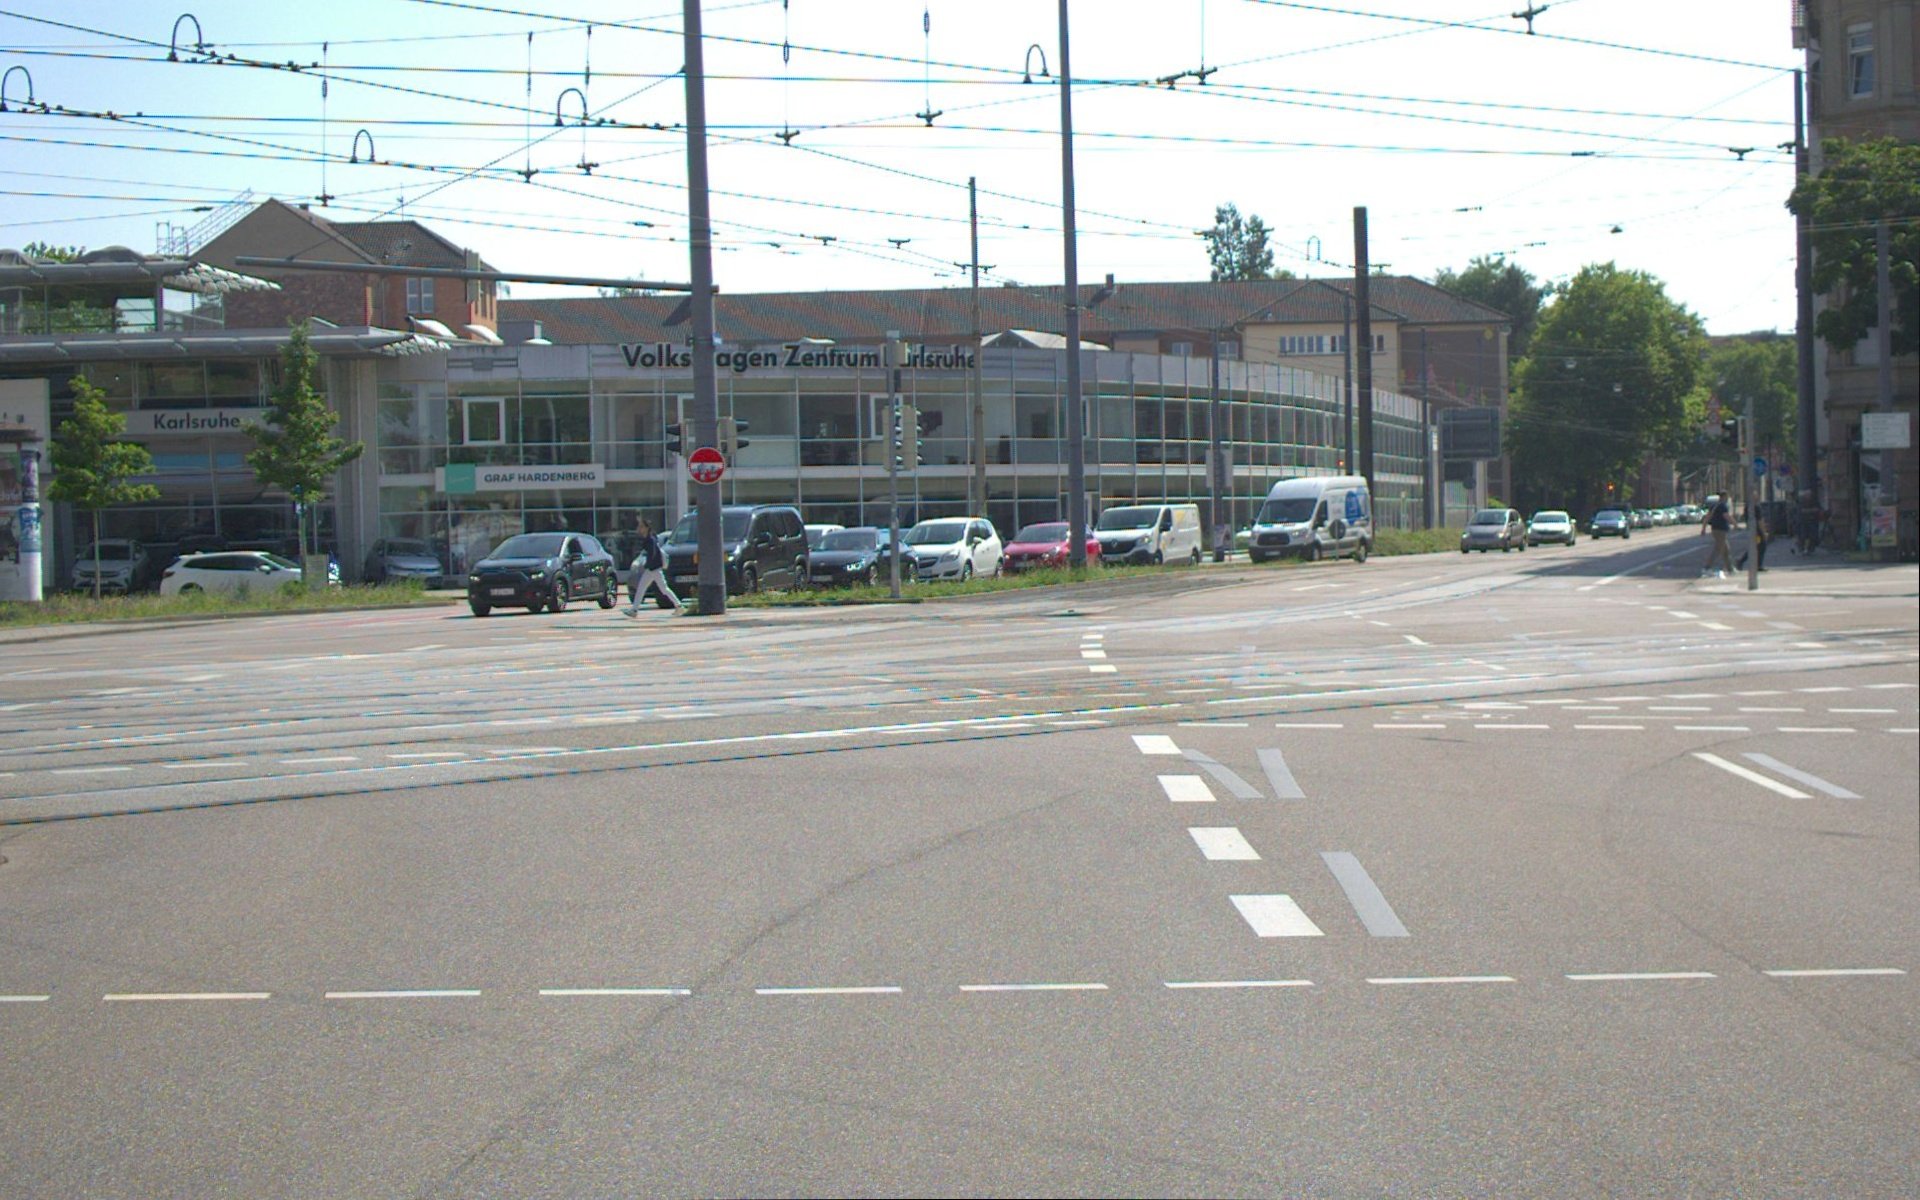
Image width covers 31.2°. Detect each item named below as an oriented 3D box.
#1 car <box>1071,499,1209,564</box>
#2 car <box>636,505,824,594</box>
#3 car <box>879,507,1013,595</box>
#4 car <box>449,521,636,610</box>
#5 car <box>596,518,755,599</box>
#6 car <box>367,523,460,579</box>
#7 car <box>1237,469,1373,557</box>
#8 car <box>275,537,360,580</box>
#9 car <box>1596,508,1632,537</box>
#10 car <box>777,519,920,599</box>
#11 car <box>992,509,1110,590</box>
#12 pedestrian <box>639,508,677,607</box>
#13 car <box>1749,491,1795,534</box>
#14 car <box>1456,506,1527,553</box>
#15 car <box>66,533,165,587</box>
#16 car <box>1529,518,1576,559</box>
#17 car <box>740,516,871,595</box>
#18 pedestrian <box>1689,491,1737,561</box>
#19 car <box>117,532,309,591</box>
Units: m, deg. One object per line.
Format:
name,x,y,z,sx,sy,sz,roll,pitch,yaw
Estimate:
car,4.937,-1.892,93.686,2.188,1.675,5.024,-1,1,22
car,-4.268,-0.981,64.667,1.962,1.582,4.713,-1,1,17
car,-0.285,-1.102,78.508,1.896,1.910,4.197,-1,0,17
car,-7.732,-0.629,64.062,1.893,1.582,4.207,-1,0,17
car,-5.832,-0.841,70.870,1.896,1.582,3.997,-1,0,17
car,-16.207,-1.448,101.753,1.819,1.612,4.001,1,1,-23
car,10.555,-2.621,104.649,2.211,2.566,5.867,1,1,26
car,-18.678,-1.206,100.056,1.830,1.191,4.000,1,1,-2
car,33.552,-3.964,176.237,1.385,1.409,3.010,1,1,19
car,-2.272,-0.835,71.184,1.895,1.582,3.997,-1,0,14
car,2.290,-1.229,85.405,1.896,1.910,4.197,-1,0,17
pedestrian,-4.943,-0.695,56.203,0.453,1.599,0.400,1,0,-36
car,39.162,-4.213,165.685,2.110,2.007,3.998,-1,1,14
car,19.227,-2.547,124.355,1.386,1.651,3.754,1,1,27
car,-24.656,-1.179,100.476,1.993,1.481,4.001,-1,1,-2
car,24.392,-2.523,141.426,1.385,1.619,3.336,1,1,19
car,-3.483,-0.998,78.190,1.653,1.733,4.197,-1,0,17
pedestrian,15.486,-1.516,70.680,0.612,1.428,0.712,0,1,-38
car,-19.126,-0.993,88.106,4.585,1.431,1.444,1,0,7
